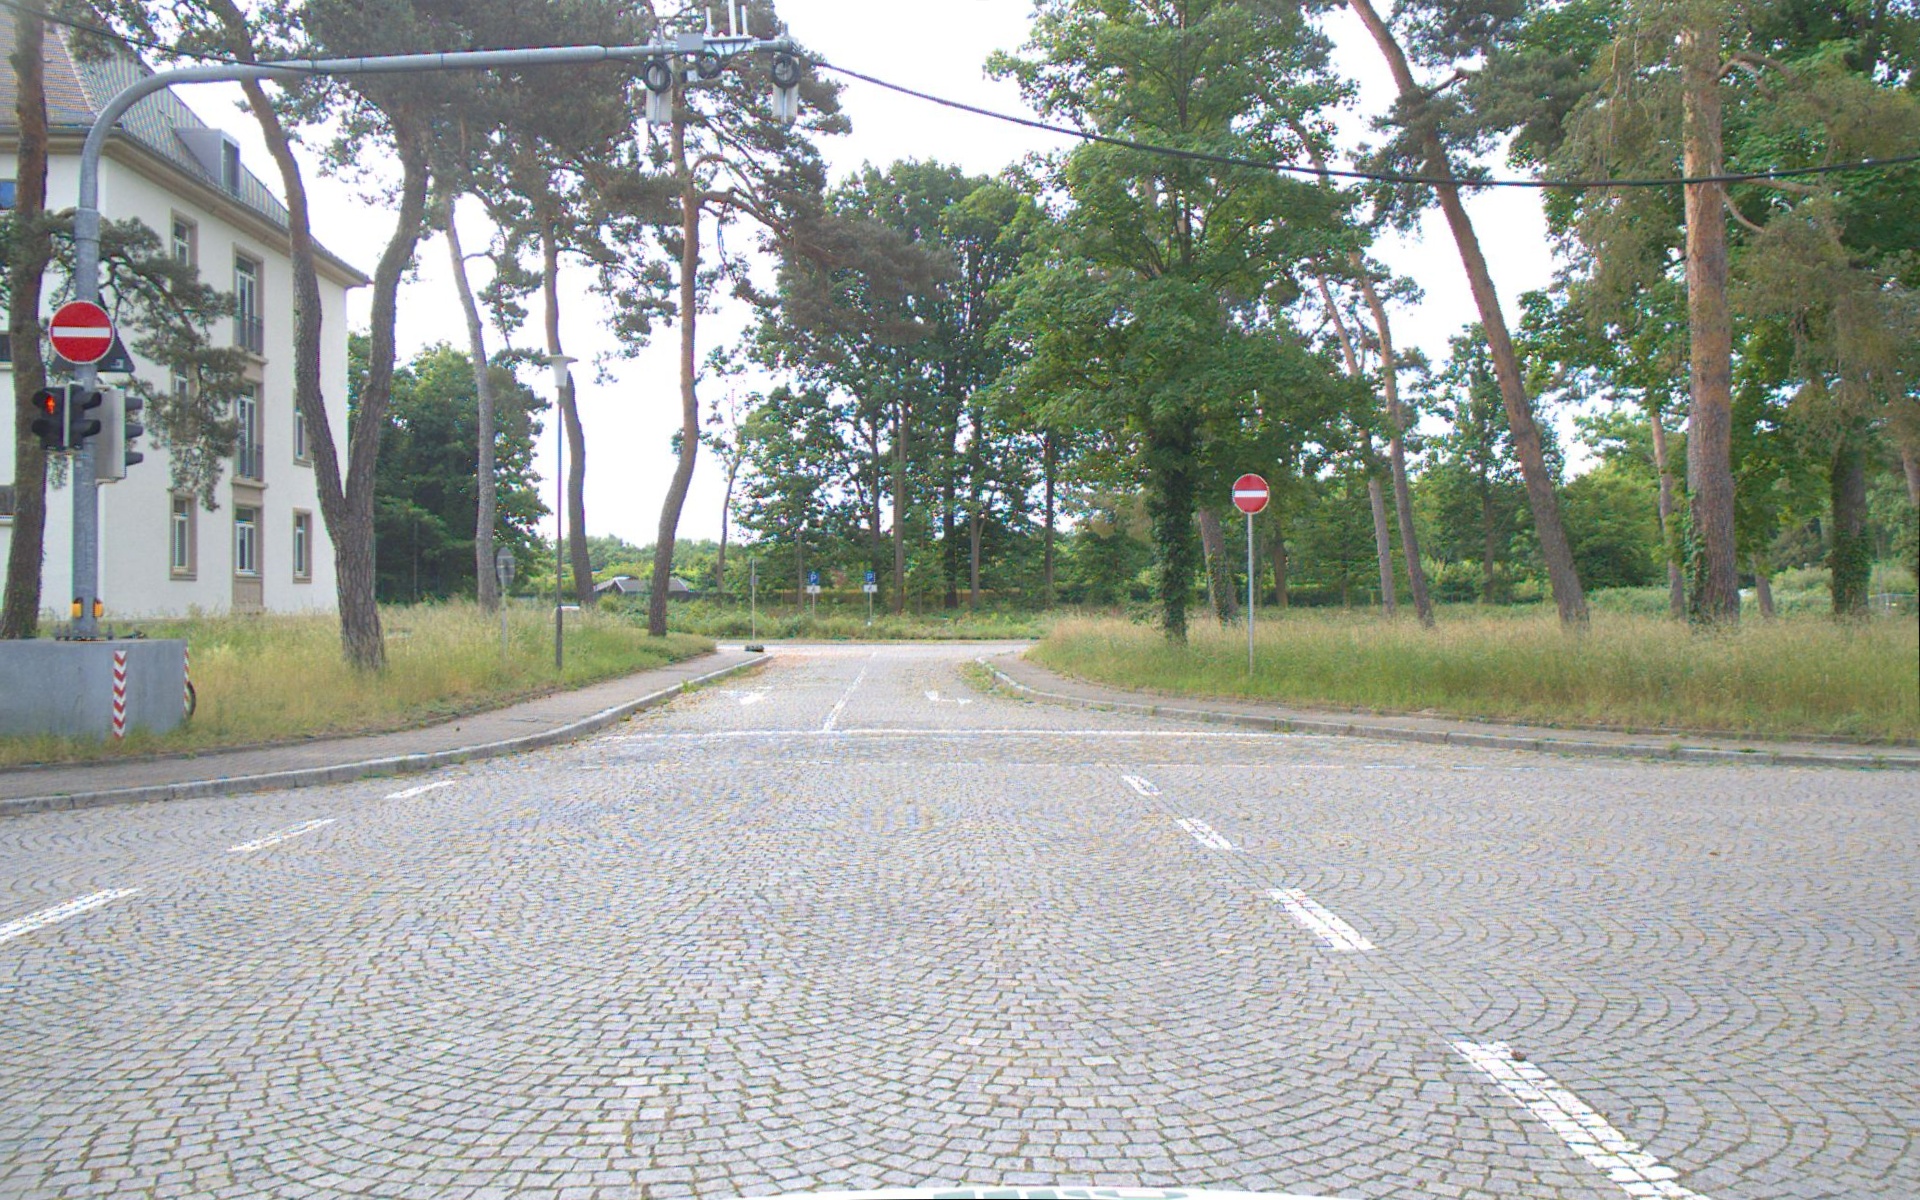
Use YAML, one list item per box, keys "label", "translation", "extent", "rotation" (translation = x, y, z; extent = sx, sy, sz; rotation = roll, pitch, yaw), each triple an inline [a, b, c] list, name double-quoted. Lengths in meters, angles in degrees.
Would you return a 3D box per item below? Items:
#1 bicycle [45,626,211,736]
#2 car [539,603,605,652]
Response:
- label: "bicycle"
  translation: [-8.627, 0.828, 17.180]
  extent: [1.435, 1.084, 0.516]
  rotation: [-1, 1, -4]
- label: "car"
  translation: [-15.670, 1.106, 66.997]
  extent: [1.954, 1.878, 3.996]
  rotation: [1, 0, -5]
